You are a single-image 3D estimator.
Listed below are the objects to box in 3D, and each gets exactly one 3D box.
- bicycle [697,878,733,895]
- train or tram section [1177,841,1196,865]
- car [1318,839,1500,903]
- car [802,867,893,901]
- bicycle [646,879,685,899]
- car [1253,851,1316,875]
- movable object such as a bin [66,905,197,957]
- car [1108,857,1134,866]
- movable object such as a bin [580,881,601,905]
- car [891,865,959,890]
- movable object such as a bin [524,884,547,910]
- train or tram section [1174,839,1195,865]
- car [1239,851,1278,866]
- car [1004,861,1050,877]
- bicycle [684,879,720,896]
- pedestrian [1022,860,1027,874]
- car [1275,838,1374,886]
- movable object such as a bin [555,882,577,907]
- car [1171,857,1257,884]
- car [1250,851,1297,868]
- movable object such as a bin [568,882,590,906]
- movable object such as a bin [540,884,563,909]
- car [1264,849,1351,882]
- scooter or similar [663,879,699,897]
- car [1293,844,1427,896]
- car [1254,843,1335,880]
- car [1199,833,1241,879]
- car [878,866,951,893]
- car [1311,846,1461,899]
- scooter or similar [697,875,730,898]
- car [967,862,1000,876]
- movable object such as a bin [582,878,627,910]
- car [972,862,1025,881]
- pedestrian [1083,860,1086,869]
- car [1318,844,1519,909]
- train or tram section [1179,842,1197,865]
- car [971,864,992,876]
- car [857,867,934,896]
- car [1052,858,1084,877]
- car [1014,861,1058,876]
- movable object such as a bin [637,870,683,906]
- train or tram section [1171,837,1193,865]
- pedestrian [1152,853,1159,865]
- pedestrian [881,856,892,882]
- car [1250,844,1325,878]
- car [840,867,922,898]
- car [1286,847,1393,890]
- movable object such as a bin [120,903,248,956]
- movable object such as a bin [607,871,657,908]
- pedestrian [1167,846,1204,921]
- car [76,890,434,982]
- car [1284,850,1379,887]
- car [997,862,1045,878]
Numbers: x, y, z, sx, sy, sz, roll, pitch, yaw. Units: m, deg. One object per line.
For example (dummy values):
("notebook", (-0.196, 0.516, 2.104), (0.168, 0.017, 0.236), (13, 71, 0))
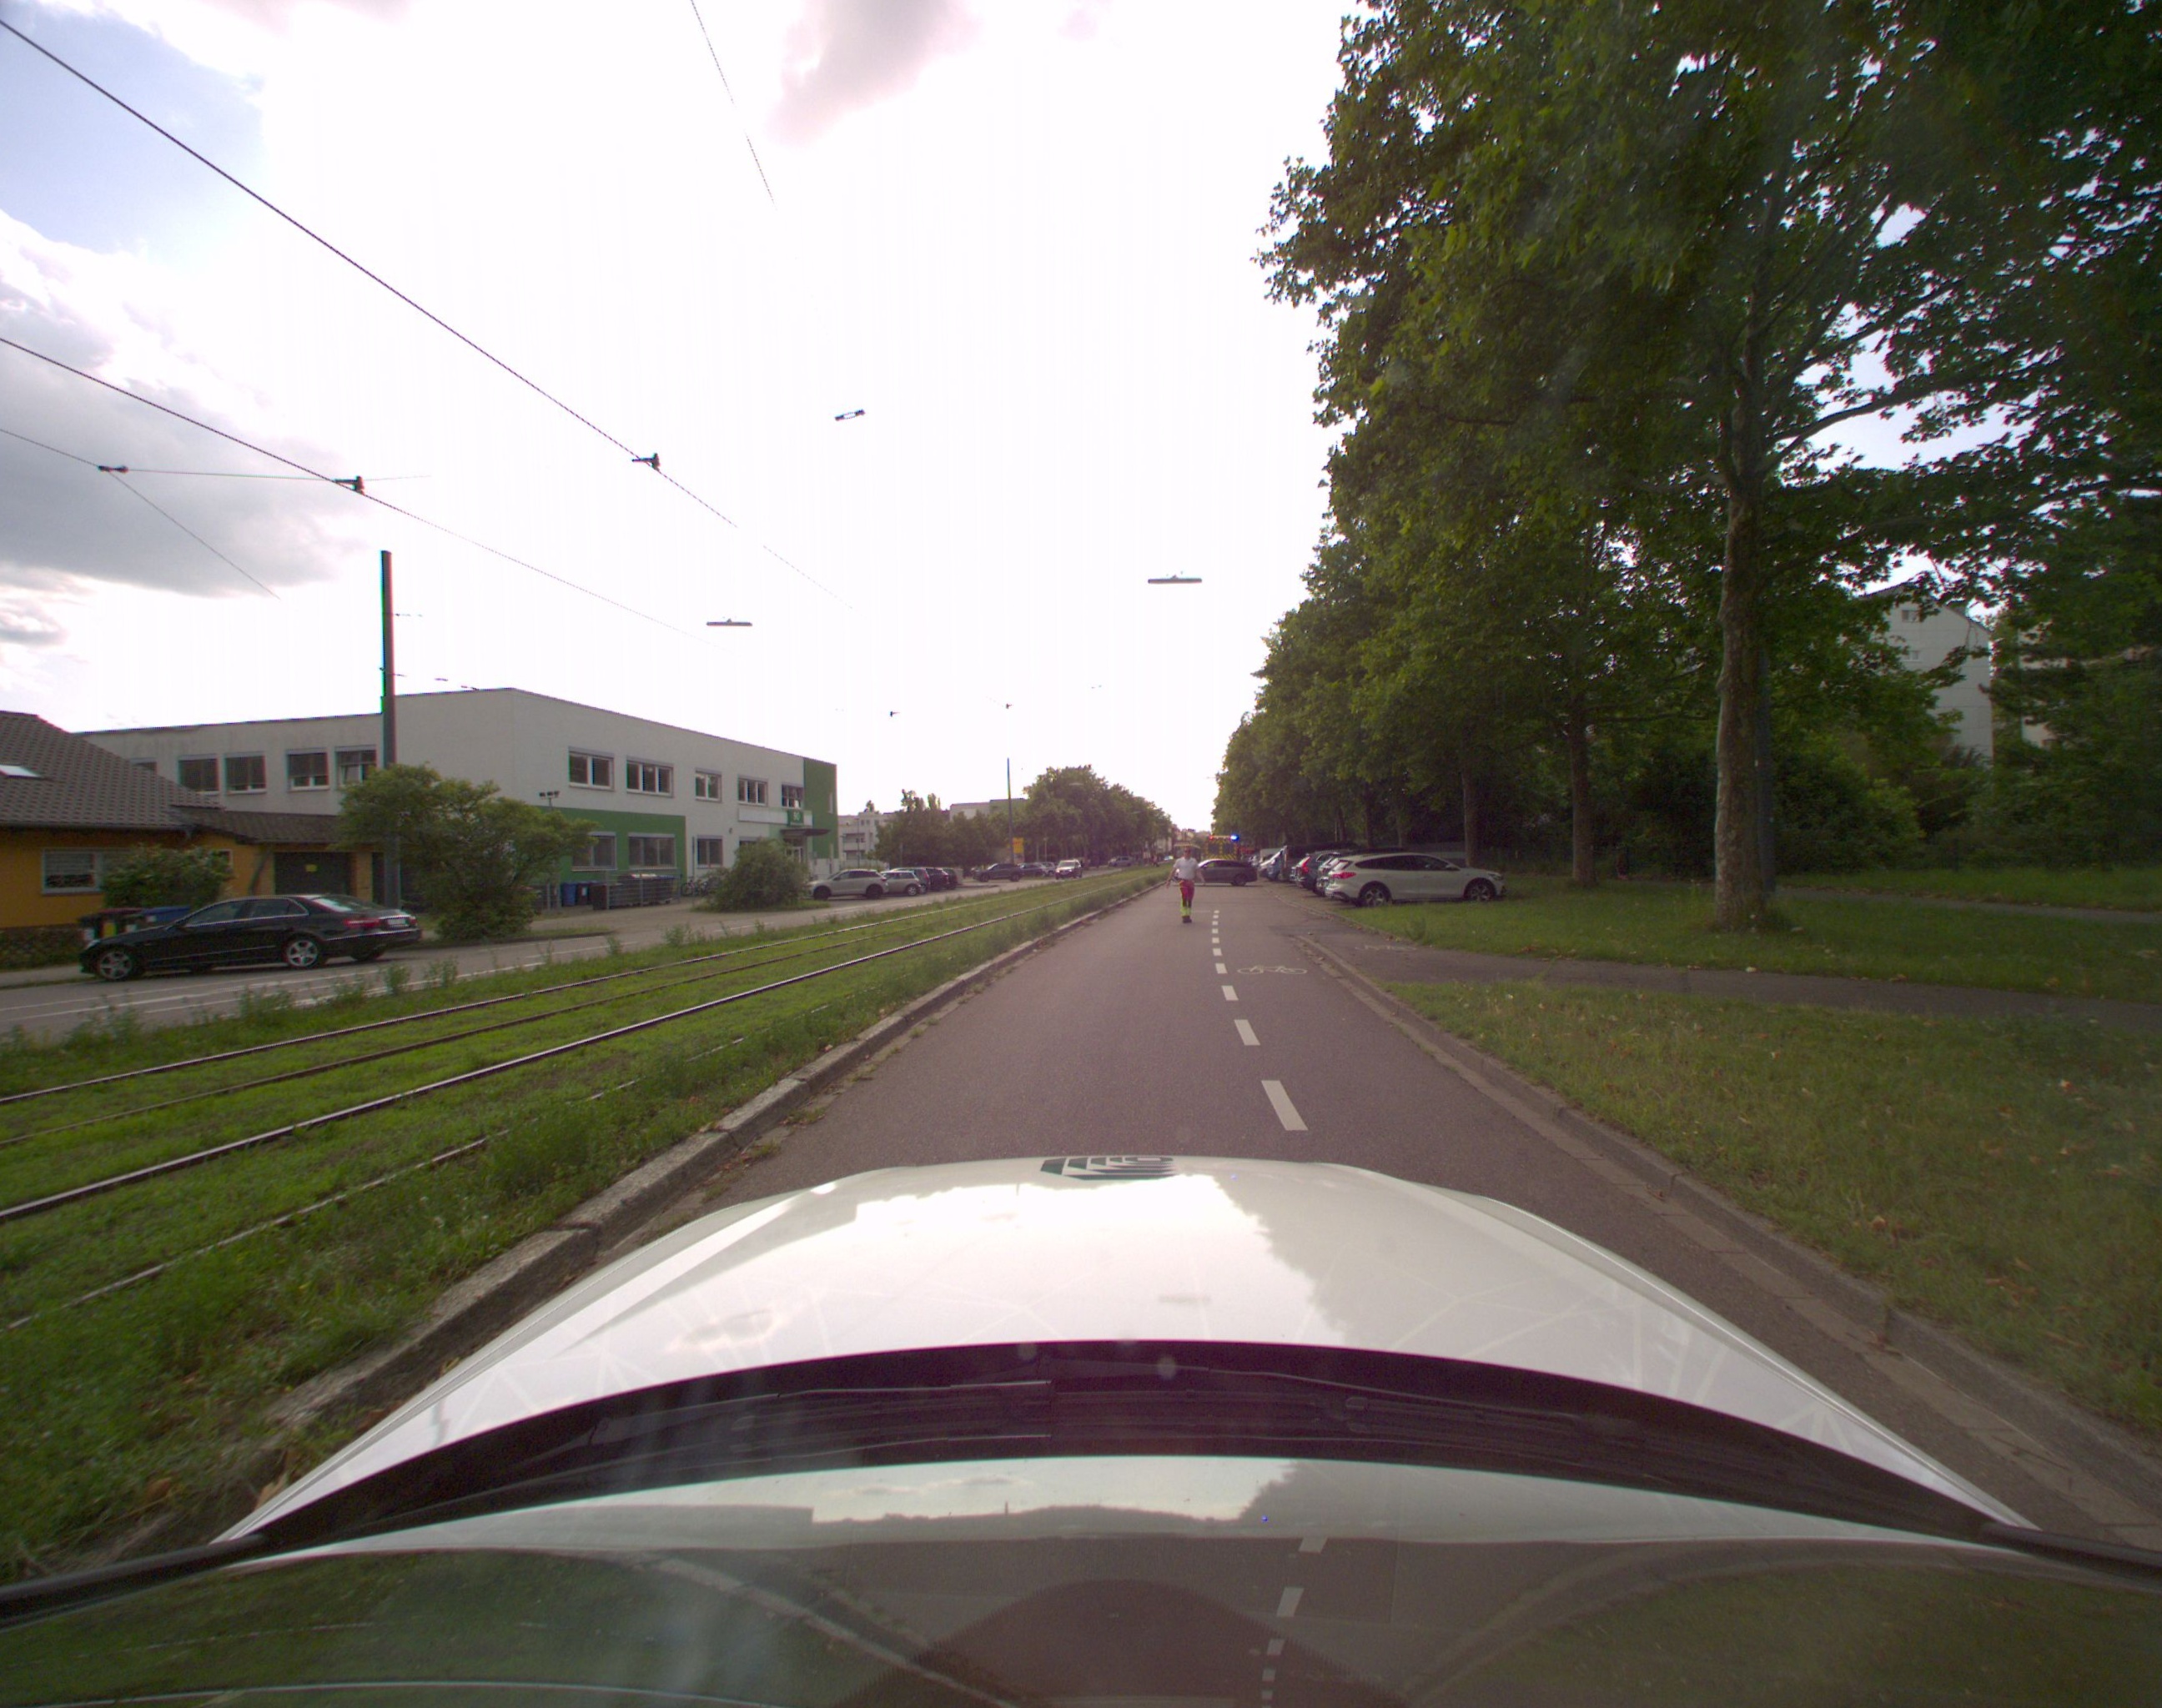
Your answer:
("bicycle", (-20.234, 1.795, 44.996), (1.846, 0.899, 0.460), (0, -1, 10))
("train or tram section", (16.693, -0.132, 128.546), (2.497, 3.584, 7.464), (-3, -1, 9))
("car", (9.625, 0.499, 24.202), (4.635, 1.626, 1.851), (-3, 0, 6))
("car", (-12.105, 1.527, 42.225), (4.241, 1.482, 1.868), (-2, 0, -25))
("bicycle", (-20.842, 1.730, 40.865), (1.846, 0.986, 0.460), (0, -1, 10))
("car", (15.662, 0.679, 62.860), (4.523, 1.608, 1.859), (-3, -1, 6))
("movable object such as a bin", (-23.002, 1.840, 19.781), (1.247, 1.092, 1.622), (-2, 0, 9))
("car", (7.610, 1.394, 156.218), (4.641, 1.633, 1.865), (-2, -1, -29))
("movable object such as a bin", (-22.149, 1.750, 36.762), (0.565, 1.042, 0.566), (0, 1, 10))
("car", (-10.390, 1.549, 54.182), (4.235, 1.482, 1.871), (-2, 0, -20))
("movable object such as a bin", (-22.732, 1.778, 33.949), (0.565, 1.042, 0.566), (0, 1, 10))
("train or tram section", (15.439, -0.249, 121.188), (2.497, 3.584, 7.464), (-3, -1, 9))
("car", (22.187, 0.593, 102.077), (4.523, 1.608, 1.859), (-3, -1, 6))
("car", (-5.422, 1.483, 81.366), (4.243, 1.482, 1.867), (0, -1, -26))
("bicycle", (-20.410, 1.777, 43.862), (1.846, 0.899, 0.460), (0, -1, 10))
("pedestrian", (-6.898, 1.569, 99.410), (0.463, 1.676, 0.604), (-2, -1, 8))
("car", (12.152, 0.402, 40.888), (4.518, 2.123, 1.860), (-3, -1, 9))
("movable object such as a bin", (-22.411, 1.748, 35.465), (0.565, 1.042, 0.566), (0, 1, 10))
("car", (7.154, 0.887, 44.003), (4.435, 1.385, 1.768), (0, 0, 2))
("car", (19.827, 0.567, 84.084), (4.523, 1.608, 1.859), (-3, -1, 6))
("movable object such as a bin", (-22.265, 1.758, 36.107), (0.565, 1.042, 0.566), (0, 1, 10))
("movable object such as a bin", (-22.565, 1.798, 34.701), (0.565, 1.042, 0.566), (0, 1, 10))
("car", (13.090, 0.666, 47.267), (4.524, 1.660, 1.858), (-3, -1, 5))
("scooter or similar", (-20.804, 1.773, 42.376), (1.724, 0.899, 0.460), (0, -1, 10))
("car", (9.974, 0.570, 29.427), (4.352, 1.639, 1.762), (-3, -1, 11))
("car", (13.006, 0.470, 49.862), (4.523, 2.001, 1.859), (-3, -1, 6))
("car", (9.817, 0.156, 57.132), (2.624, 2.966, 6.319), (1, 0, 11))
("car", (-10.439, 1.564, 51.034), (4.235, 1.482, 1.871), (-2, 0, -20))
("car", (9.921, 0.611, 26.796), (4.352, 1.501, 1.762), (-3, 0, 11))
("scooter or similar", (-19.085, 1.691, 42.281), (1.290, 1.156, 1.101), (-1, -1, 39))
("car", (-12.447, 1.858, 103.482), (3.949, 1.750, 2.012), (0, 0, 41))
("movable object such as a bin", (-19.570, 1.644, 33.453), (0.999, 1.234, 1.260), (0, 1, 12))
("car", (-6.939, 1.453, 68.361), (4.229, 1.482, 1.874), (-1, -1, -15))
("pedestrian", (0.508, 1.684, 130.682), (0.419, 1.473, 0.468), (-2, -1, 5))
("car", (8.988, 0.597, 22.030), (4.635, 1.473, 1.851), (-3, 0, 6))
("train or tram section", (17.949, -0.015, 135.873), (2.497, 3.584, 7.464), (-3, -1, 9))
("car", (-14.446, 2.327, 118.510), (1.981, 1.750, 4.011), (0, 0, 10))
("car", (-10.952, 1.584, 48.107), (4.235, 1.482, 1.871), (-2, 0, -20))
("car", (-1.136, 1.200, 72.656), (1.982, 1.558, 4.381), (-3, 0, 9))
("car", (-4.654, 1.506, 84.313), (4.243, 1.482, 1.867), (0, -1, -26))
("movable object such as a bin", (-18.913, 1.513, 36.630), (0.999, 1.519, 1.610), (0, 1, 12))
("train or tram section", (14.196, -0.367, 113.841), (2.497, 3.584, 7.464), (-3, -1, 9))
("pedestrian", (10.047, 0.671, 110.295), (0.875, 1.525, 0.753), (0, -1, 9))
("pedestrian", (-13.971, 1.076, 58.531), (0.543, 1.828, 0.510), (-2, -1, 8))
("car", (13.755, 0.448, 54.408), (4.523, 2.043, 1.859), (-3, -1, 6))
("car", (-11.142, 1.566, 45.245), (4.235, 1.482, 1.871), (-2, 0, -20))
("car", (11.051, 0.620, 34.981), (3.954, 1.605, 1.755), (-3, -1, -1))
("movable object such as a bin", (-21.552, 1.785, 19.621), (1.247, 1.101, 1.622), (-2, 0, 9))
("movable object such as a bin", (-19.254, 1.503, 34.962), (0.999, 1.519, 1.717), (0, 1, 12))
("pedestrian", (2.426, 0.670, 18.846), (0.799, 1.686, 0.853), (-1, -1, 7))
("car", (-15.878, 1.530, 15.936), (4.636, 1.407, 1.876), (-2, -2, -10))
("car", (11.555, 0.685, 37.800), (3.942, 1.494, 1.760), (-3, -1, 9))
("car", (-5.771, 1.534, 78.472), (4.243, 1.482, 1.867), (0, -1, -26))
